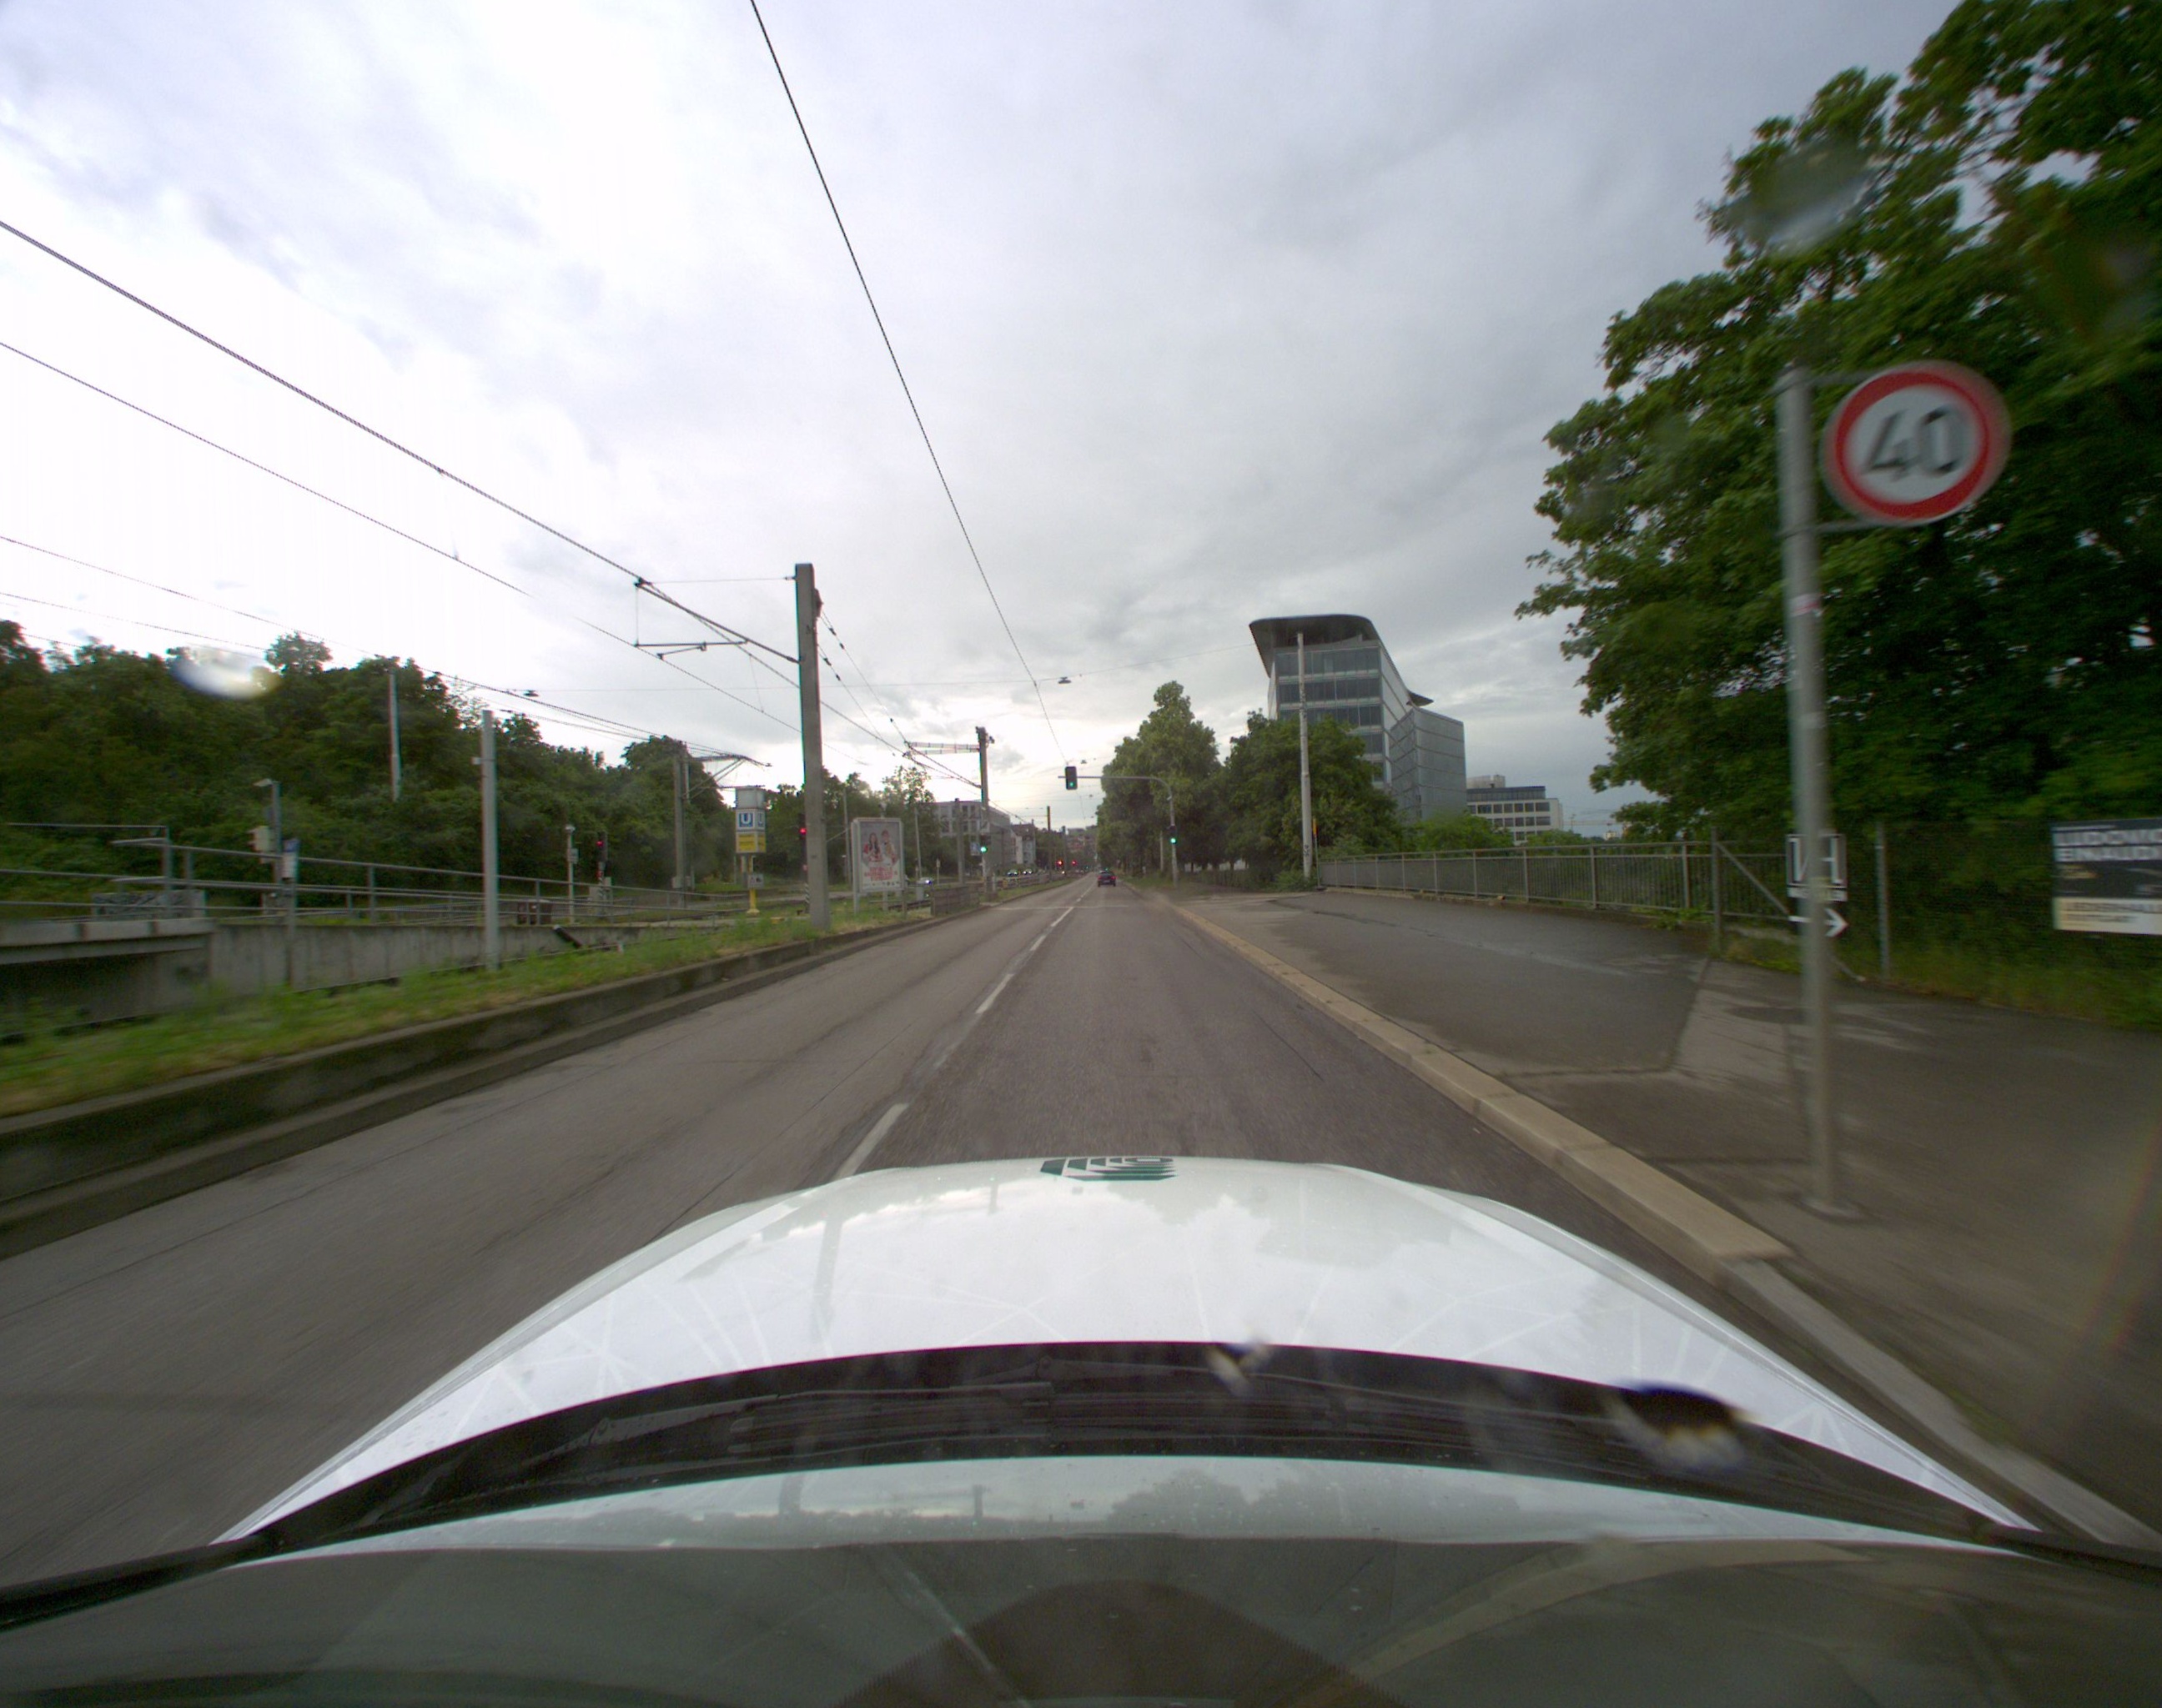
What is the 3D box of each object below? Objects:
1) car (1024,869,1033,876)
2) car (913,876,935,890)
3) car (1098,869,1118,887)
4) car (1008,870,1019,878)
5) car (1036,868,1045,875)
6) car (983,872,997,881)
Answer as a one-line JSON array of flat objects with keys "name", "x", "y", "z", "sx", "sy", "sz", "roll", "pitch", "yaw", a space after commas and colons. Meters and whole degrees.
[{"name": "car", "x": -13.725, "y": 4.861, "z": 212.280, "sx": 1.644, "sy": 1.632, "sz": 3.616, "roll": 0, "pitch": 1, "yaw": 6}, {"name": "car", "x": -21.119, "y": 3.878, "z": 109.703, "sx": 1.840, "sy": 1.632, "sz": 3.819, "roll": 0, "pitch": 1, "yaw": 6}, {"name": "car", "x": 2.472, "y": 2.223, "z": 75.504, "sx": 1.720, "sy": 1.540, "sz": 4.001, "roll": -1, "pitch": 0, "yaw": 1}, {"name": "car", "x": -15.352, "y": 4.526, "z": 185.650, "sx": 1.840, "sy": 1.632, "sz": 3.616, "roll": 0, "pitch": 1, "yaw": 6}, {"name": "car", "x": -10.941, "y": 4.686, "z": 218.405, "sx": 1.840, "sy": 1.632, "sz": 3.616, "roll": 0, "pitch": 1, "yaw": 6}, {"name": "car", "x": -17.363, "y": 4.284, "z": 155.573, "sx": 1.840, "sy": 1.632, "sz": 3.616, "roll": 0, "pitch": 1, "yaw": 6}]
